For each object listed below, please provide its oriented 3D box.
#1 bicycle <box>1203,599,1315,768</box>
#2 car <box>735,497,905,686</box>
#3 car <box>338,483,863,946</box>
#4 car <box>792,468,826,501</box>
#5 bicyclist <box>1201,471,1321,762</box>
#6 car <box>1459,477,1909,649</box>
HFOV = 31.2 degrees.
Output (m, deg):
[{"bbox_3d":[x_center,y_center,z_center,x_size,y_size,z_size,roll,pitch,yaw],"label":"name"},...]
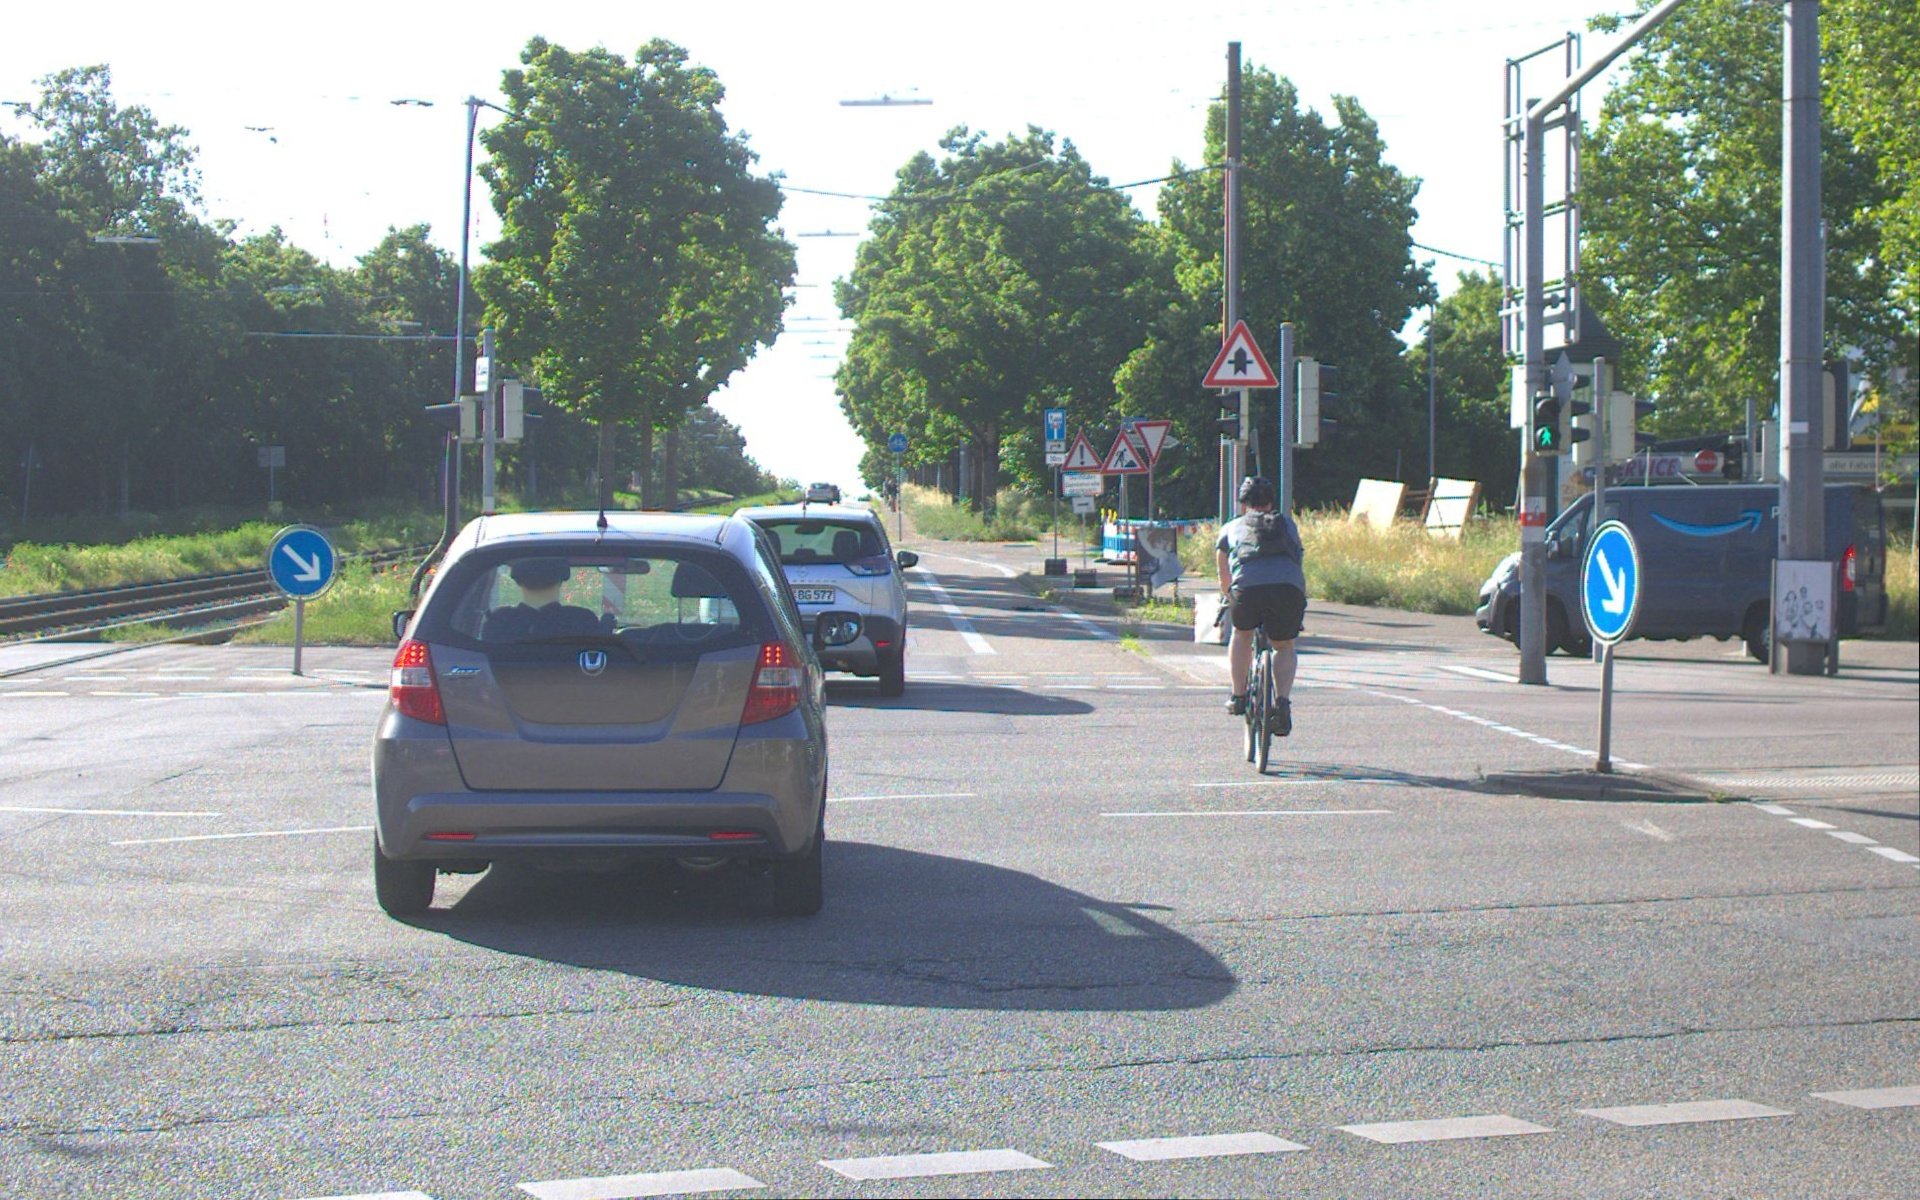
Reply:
[{"bbox_3d":[1.774,0.473,20.573,0.524,0.920,2.089,0,1,1],"label":"bicycle"},{"bbox_3d":[-1.157,-0.099,29.338,1.351,1.522,3.123,0,1,-1],"label":"car"},{"bbox_3d":[-1.310,0.339,13.830,1.670,1.510,3.674,2,3,0],"label":"car"},{"bbox_3d":[-9.710,-7.420,221.264,1.993,2.007,4.000,0,1,0],"label":"car"},{"bbox_3d":[1.763,0.085,20.232,0.615,1.673,0.933,0,1,0],"label":"bicyclist"},{"bbox_3d":[9.098,-0.502,43.332,5.112,2.063,2.127,1,1,31],"label":"car"}]
